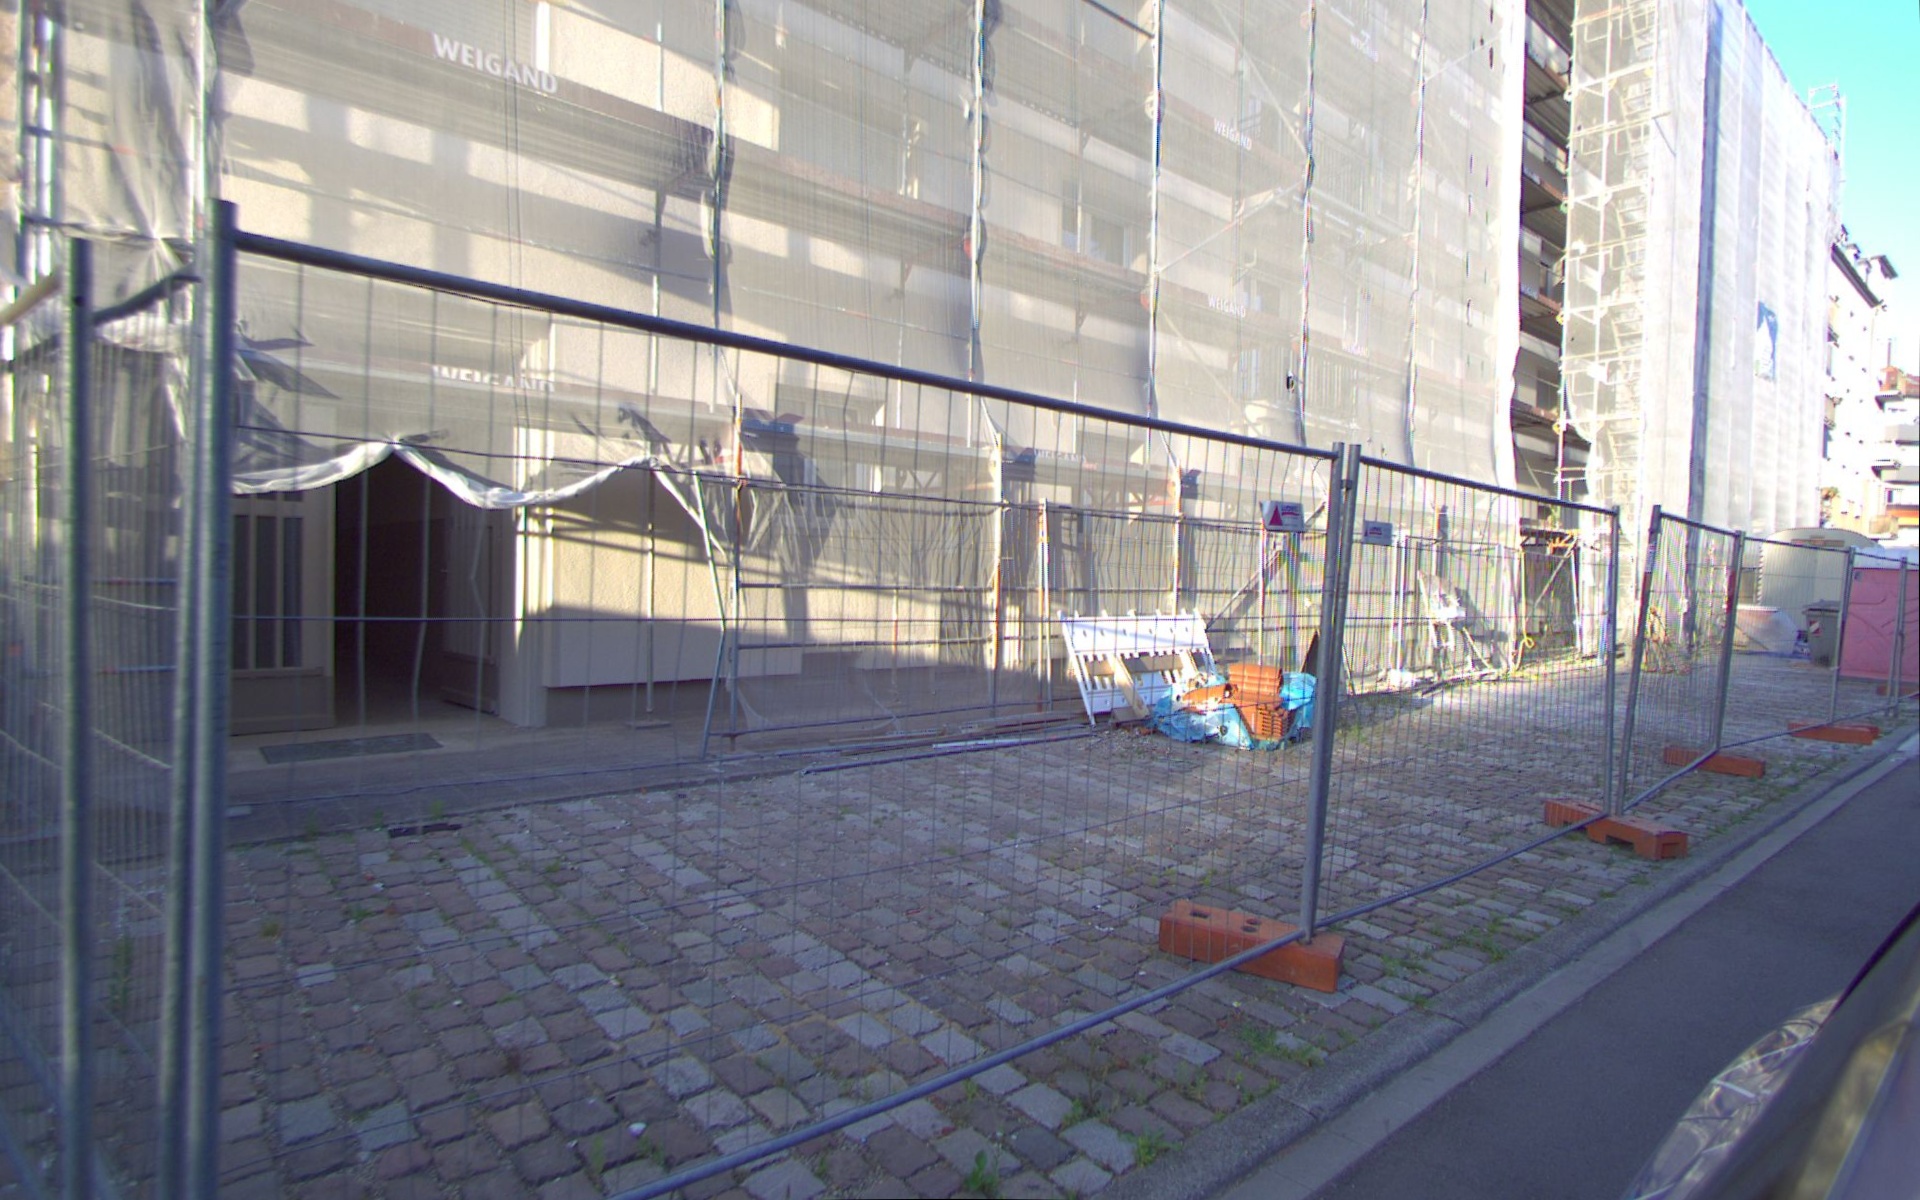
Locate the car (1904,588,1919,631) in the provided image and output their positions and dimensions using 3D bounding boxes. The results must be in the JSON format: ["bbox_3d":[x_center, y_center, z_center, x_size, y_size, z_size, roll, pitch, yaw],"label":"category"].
[{"bbox_3d":[39.366,0.431,39.160,1.871,1.658,3.992,0,2,-43],"label":"car"}]

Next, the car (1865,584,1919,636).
[{"bbox_3d":[32.093,0.357,32.553,1.838,1.635,4.164,0,2,-38],"label":"car"}]
